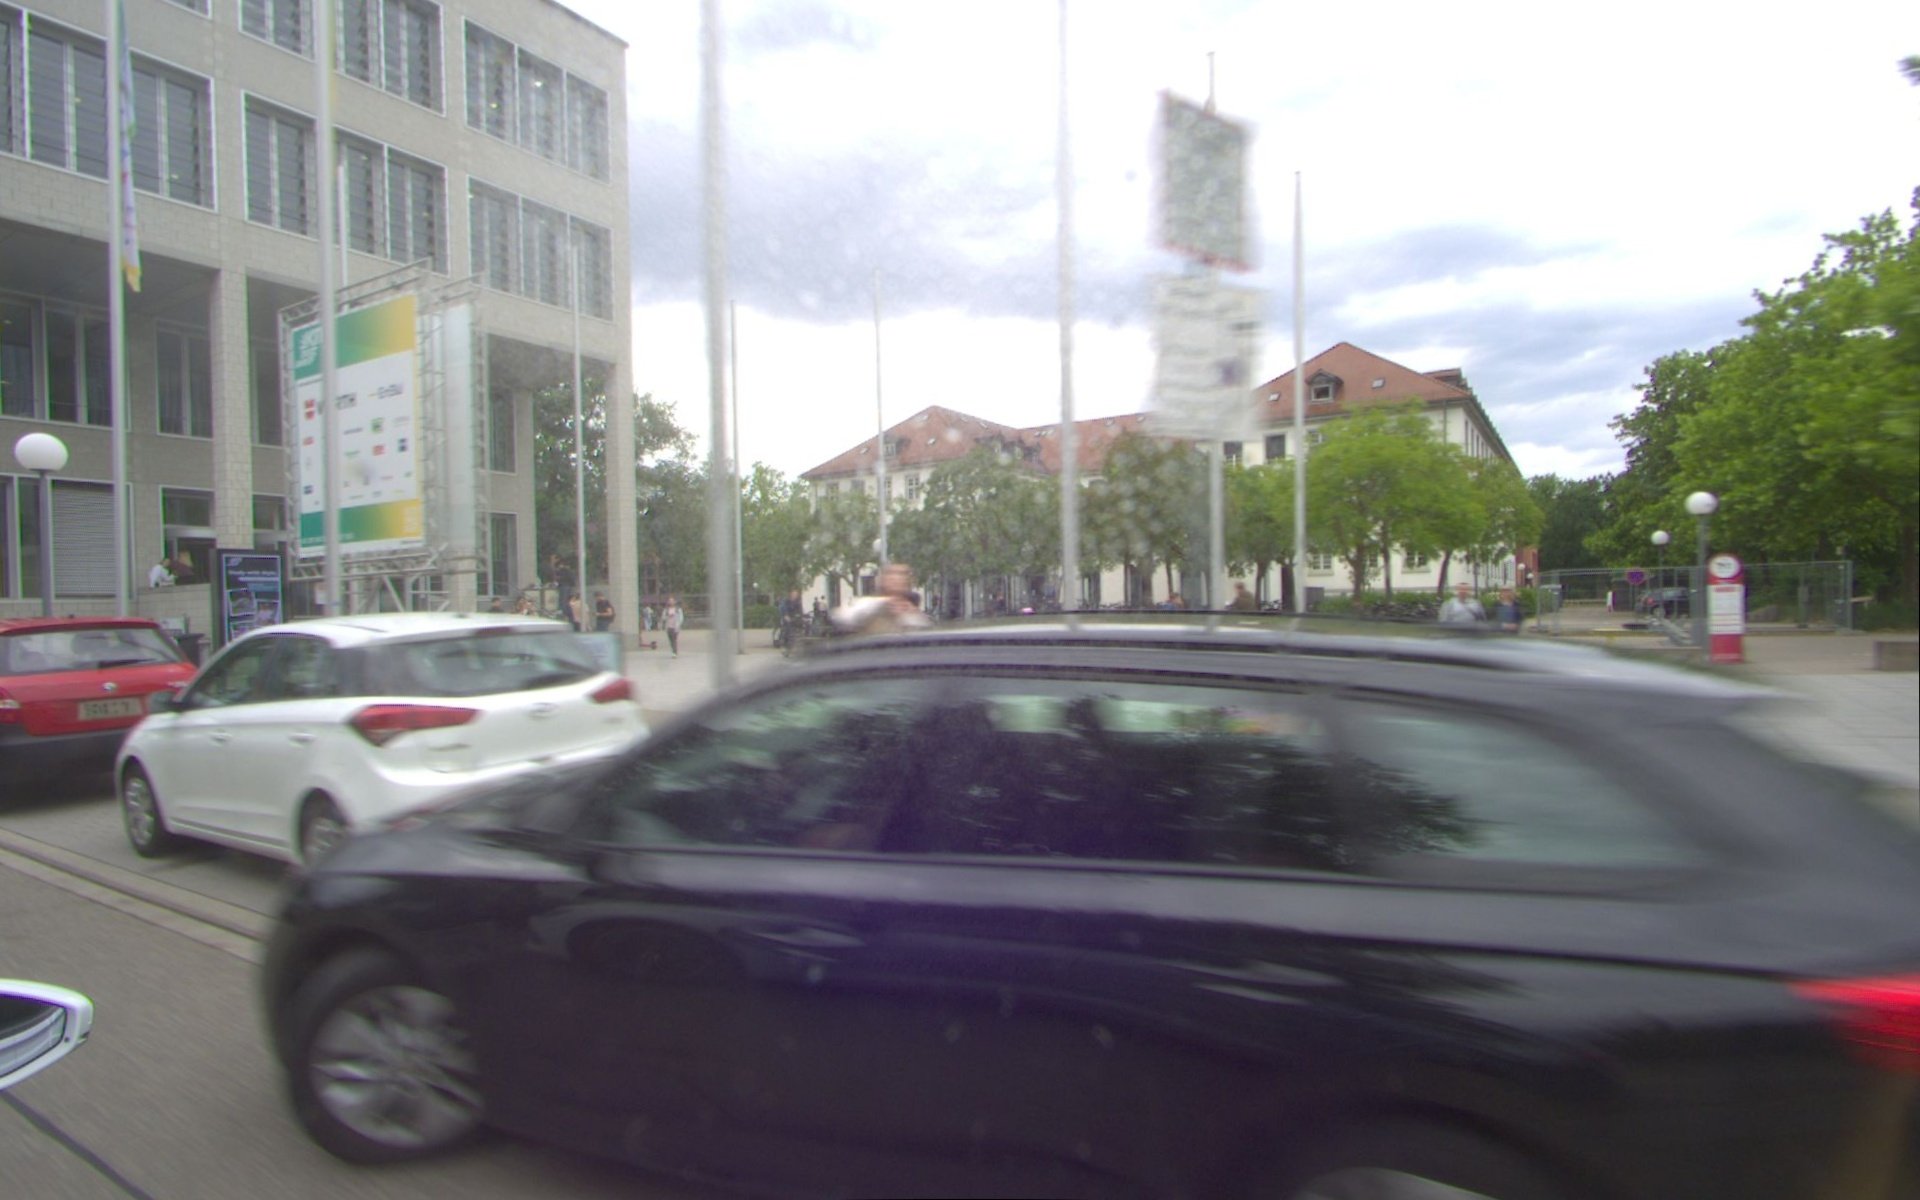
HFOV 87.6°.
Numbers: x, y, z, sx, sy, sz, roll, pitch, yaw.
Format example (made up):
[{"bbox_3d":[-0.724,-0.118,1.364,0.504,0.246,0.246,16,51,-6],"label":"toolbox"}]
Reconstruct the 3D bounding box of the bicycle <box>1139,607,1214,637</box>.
[{"bbox_3d":[9.307,0.934,43.165,3.064,1.185,0.743,2,1,34],"label":"bicycle"}]

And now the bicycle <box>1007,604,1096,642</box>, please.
[{"bbox_3d":[3.117,0.774,34.342,3.065,1.185,0.743,2,1,35],"label":"bicycle"}]

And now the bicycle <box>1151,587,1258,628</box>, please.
[{"bbox_3d":[7.359,0.241,30.238,3.066,1.185,0.743,-1,0,35],"label":"bicycle"}]

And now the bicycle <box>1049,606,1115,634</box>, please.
[{"bbox_3d":[5.665,0.926,46.743,3.065,1.185,0.743,2,1,35],"label":"bicycle"}]

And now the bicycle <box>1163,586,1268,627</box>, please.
[{"bbox_3d":[7.898,0.191,31.111,3.065,1.185,0.743,2,1,35],"label":"bicycle"}]

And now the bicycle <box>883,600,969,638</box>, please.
[{"bbox_3d":[-1.190,0.640,34.082,3.065,1.185,0.743,2,1,35],"label":"bicycle"}]

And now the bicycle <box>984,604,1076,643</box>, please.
[{"bbox_3d":[2.288,0.753,33.041,3.065,1.185,0.743,2,1,35],"label":"bicycle"}]

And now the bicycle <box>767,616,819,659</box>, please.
[{"bbox_3d":[-4.627,1.005,27.607,0.863,1.108,1.792,-1,0,-29],"label":"bicycle"}]

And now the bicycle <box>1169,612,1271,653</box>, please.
[{"bbox_3d":[8.331,1.026,32.192,3.065,1.185,0.743,2,1,35],"label":"bicycle"}]

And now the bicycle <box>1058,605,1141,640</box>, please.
[{"bbox_3d":[5.233,0.828,37.759,3.064,1.185,0.743,2,1,34],"label":"bicycle"}]

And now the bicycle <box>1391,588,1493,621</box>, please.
[{"bbox_3d":[18.321,0.172,38.112,3.353,1.185,1.048,-1,0,39],"label":"bicycle"}]

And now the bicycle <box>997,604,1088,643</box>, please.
[{"bbox_3d":[2.741,0.764,33.673,3.065,1.185,0.743,2,1,35],"label":"bicycle"}]

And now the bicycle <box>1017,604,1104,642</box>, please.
[{"bbox_3d":[3.488,0.783,35.033,3.065,1.185,0.743,2,1,35],"label":"bicycle"}]

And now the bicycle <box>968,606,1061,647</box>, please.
[{"bbox_3d":[1.732,0.839,32.312,3.065,1.185,0.743,2,1,35],"label":"bicycle"}]

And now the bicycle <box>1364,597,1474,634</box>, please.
[{"bbox_3d":[16.183,0.541,35.352,3.351,1.185,1.048,2,1,39],"label":"bicycle"}]

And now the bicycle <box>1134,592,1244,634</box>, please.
[{"bbox_3d":[6.664,0.389,29.282,3.066,1.185,0.743,-1,0,35],"label":"bicycle"}]

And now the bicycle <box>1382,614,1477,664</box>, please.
[{"bbox_3d":[10.523,0.862,22.477,1.906,1.063,0.455,0,2,29],"label":"bicycle"}]

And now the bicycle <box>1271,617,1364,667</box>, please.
[{"bbox_3d":[7.867,0.911,22.101,1.901,1.063,0.456,-1,1,19],"label":"bicycle"}]

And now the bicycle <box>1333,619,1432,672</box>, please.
[{"bbox_3d":[8.927,0.943,21.202,1.906,1.063,0.455,0,2,29],"label":"bicycle"}]

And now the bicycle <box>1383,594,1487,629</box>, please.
[{"bbox_3d":[17.627,0.429,37.232,3.353,1.185,1.048,-2,-1,39],"label":"bicycle"}]

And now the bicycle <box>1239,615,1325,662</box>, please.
[{"bbox_3d":[7.500,0.884,23.341,1.901,1.063,0.456,-1,1,19],"label":"bicycle"}]

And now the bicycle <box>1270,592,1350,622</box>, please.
[{"bbox_3d":[14.716,0.286,42.127,3.065,1.185,0.743,2,1,35],"label":"bicycle"}]

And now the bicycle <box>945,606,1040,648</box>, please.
[{"bbox_3d":[0.980,0.820,31.066,3.065,1.185,0.618,2,1,35],"label":"bicycle"}]

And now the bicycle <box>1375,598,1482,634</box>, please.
[{"bbox_3d":[16.962,0.561,36.357,3.351,1.185,1.048,2,1,39],"label":"bicycle"}]

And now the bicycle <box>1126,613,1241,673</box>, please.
[{"bbox_3d":[4.829,0.914,21.739,2.376,1.185,0.455,2,1,29],"label":"bicycle"}]

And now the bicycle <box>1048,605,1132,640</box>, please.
[{"bbox_3d":[4.793,0.817,37.120,3.064,1.185,0.743,2,1,34],"label":"bicycle"}]

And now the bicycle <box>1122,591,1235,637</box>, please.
[{"bbox_3d":[6.131,0.387,28.245,3.065,1.185,0.743,2,1,35],"label":"bicycle"}]

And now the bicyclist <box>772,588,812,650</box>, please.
[{"bbox_3d":[-4.632,0.508,27.591,0.863,1.663,0.864,-1,1,-29],"label":"bicyclist"}]

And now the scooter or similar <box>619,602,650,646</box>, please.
[{"bbox_3d":[-10.487,0.759,32.295,0.397,1.388,1.491,2,1,5],"label":"scooter or similar"}]

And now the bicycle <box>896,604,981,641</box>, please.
[{"bbox_3d":[-0.777,0.764,34.747,3.065,1.185,0.743,2,1,35],"label":"bicycle"}]

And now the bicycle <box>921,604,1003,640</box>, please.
[{"bbox_3d":[0.049,0.784,36.423,3.065,1.185,0.743,2,1,35],"label":"bicycle"}]

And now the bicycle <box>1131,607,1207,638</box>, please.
[{"bbox_3d":[8.842,0.922,42.434,3.064,1.185,0.743,2,1,34],"label":"bicycle"}]
